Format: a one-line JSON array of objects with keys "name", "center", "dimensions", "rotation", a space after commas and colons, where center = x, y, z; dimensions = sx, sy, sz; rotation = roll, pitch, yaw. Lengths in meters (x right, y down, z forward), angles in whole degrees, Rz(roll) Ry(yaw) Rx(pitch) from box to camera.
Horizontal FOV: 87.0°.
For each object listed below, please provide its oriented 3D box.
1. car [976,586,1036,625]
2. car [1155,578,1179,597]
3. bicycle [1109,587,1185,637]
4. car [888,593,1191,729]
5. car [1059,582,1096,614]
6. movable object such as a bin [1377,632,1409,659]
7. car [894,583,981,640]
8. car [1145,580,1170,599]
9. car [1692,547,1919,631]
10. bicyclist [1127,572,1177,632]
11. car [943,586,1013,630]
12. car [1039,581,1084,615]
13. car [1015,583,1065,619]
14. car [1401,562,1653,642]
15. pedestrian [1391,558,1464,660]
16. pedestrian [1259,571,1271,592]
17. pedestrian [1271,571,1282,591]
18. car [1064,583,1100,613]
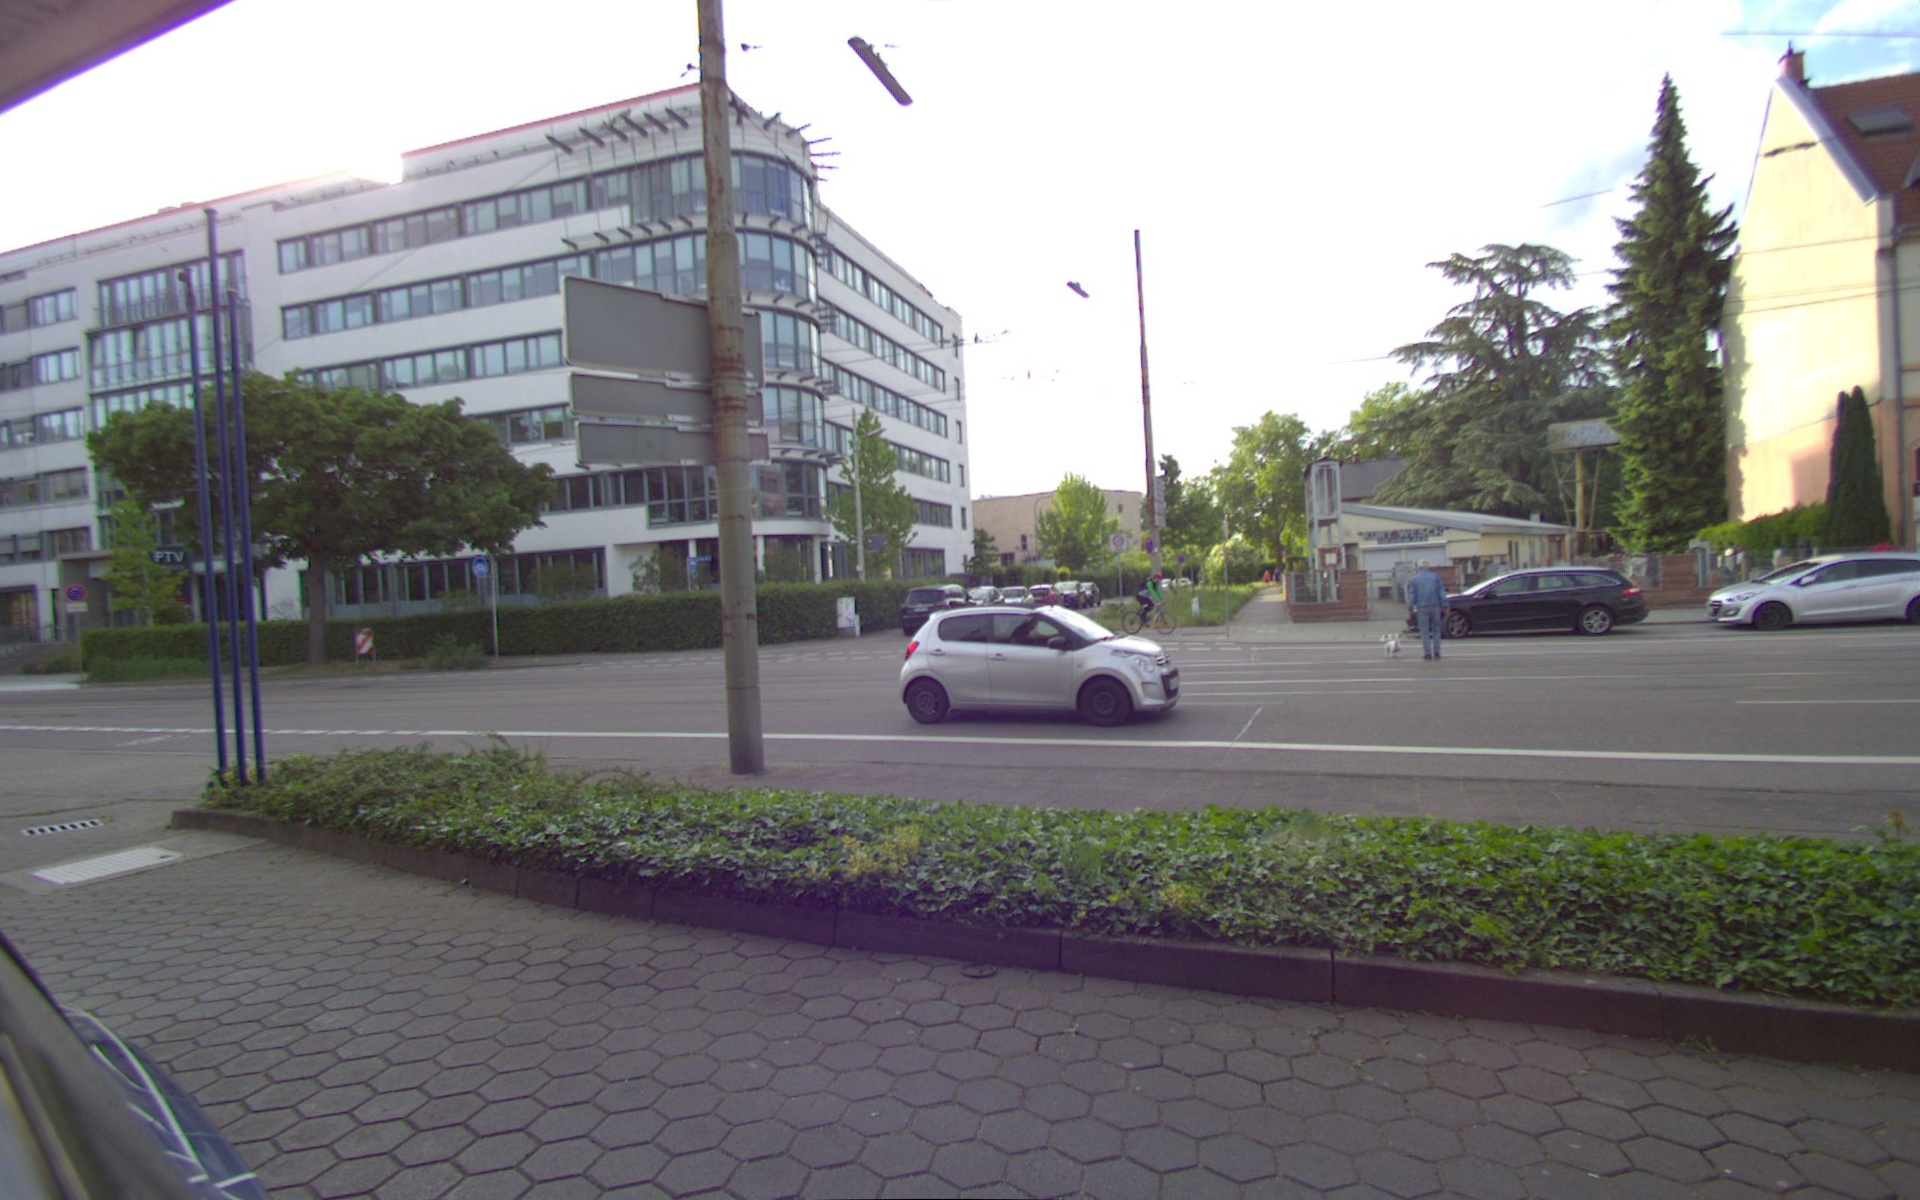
[{"name": "car", "center": [2.145, 0.215, 45.786], "dimensions": [1.929, 1.530, 4.274], "rotation": [-3, 0, 13]}, {"name": "car", "center": [21.689, -1.325, 106.163], "dimensions": [1.849, 1.748, 4.246], "rotation": [-3, 0, 19]}, {"name": "bicycle", "center": [5.291, 0.328, 28.711], "dimensions": [1.920, 1.320, 0.854], "rotation": [-1, 4, 45]}, {"name": "car", "center": [1.019, 0.757, 12.744], "dimensions": [3.405, 1.443, 1.677], "rotation": [-3, 2, 23]}, {"name": "car", "center": [7.291, -0.157, 62.495], "dimensions": [1.731, 1.748, 4.030], "rotation": [-3, 0, 13]}, {"name": "movable object such as a bin", "center": [7.788, 0.808, 18.222], "dimensions": [0.477, 0.424, 0.675], "rotation": [-3, 1, 21]}, {"name": "car", "center": [-0.722, 0.359, 35.415], "dimensions": [1.994, 1.704, 4.274], "rotation": [-3, 1, 13]}, {"name": "car", "center": [19.698, -1.076, 100.793], "dimensions": [1.849, 1.748, 4.247], "rotation": [-3, 0, 19]}, {"name": "car", "center": [18.427, -0.248, 21.383], "dimensions": [4.424, 1.494, 1.713], "rotation": [-3, 1, 21]}, {"name": "bicyclist", "center": [5.414, 0.055, 28.556], "dimensions": [1.029, 1.617, 0.854], "rotation": [-1, 4, 45]}, {"name": "car", "center": [0.797, 0.290, 40.975], "dimensions": [1.929, 1.551, 4.274], "rotation": [-3, 0, 13]}, {"name": "car", "center": [5.837, -0.148, 57.721], "dimensions": [1.929, 1.748, 4.512], "rotation": [-3, 0, 13]}, {"name": "car", "center": [4.178, 0.024, 52.492], "dimensions": [1.929, 1.650, 4.274], "rotation": [-3, 0, 13]}, {"name": "car", "center": [12.916, 0.052, 23.444], "dimensions": [4.742, 1.511, 2.001], "rotation": [-3, 1, 21]}, {"name": "pedestrian", "center": [8.086, 0.149, 17.490], "dimensions": [1.000, 1.680, 0.961], "rotation": [-2, 1, 30]}, {"name": "pedestrian", "center": [28.510, -1.710, 94.561], "dimensions": [0.899, 1.865, 0.942], "rotation": [-3, -1, 20]}, {"name": "pedestrian", "center": [29.500, -1.770, 94.328], "dimensions": [0.899, 1.865, 0.942], "rotation": [-3, -1, 20]}, {"name": "car", "center": [8.093, -0.168, 66.756], "dimensions": [1.845, 1.748, 4.256], "rotation": [-3, 0, 13]}]
